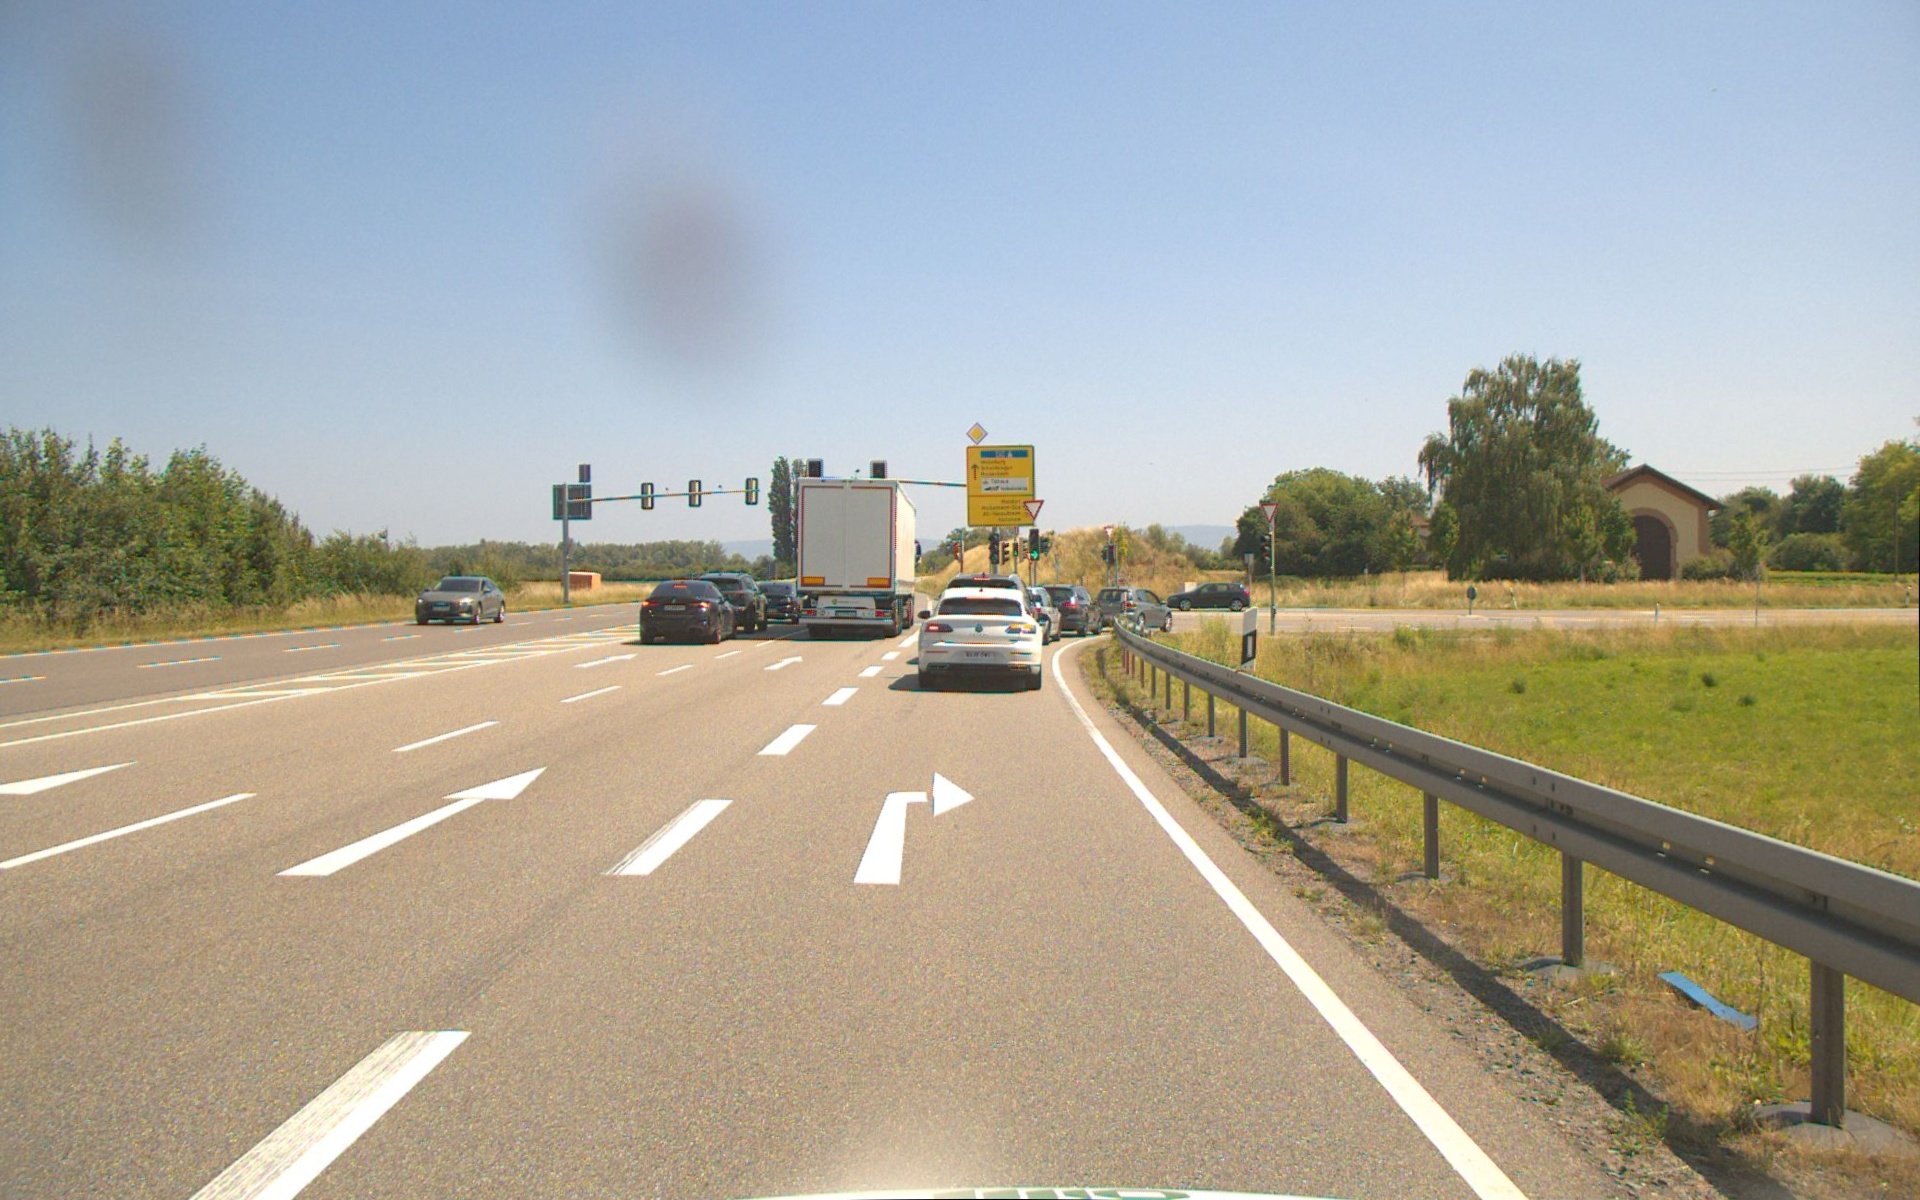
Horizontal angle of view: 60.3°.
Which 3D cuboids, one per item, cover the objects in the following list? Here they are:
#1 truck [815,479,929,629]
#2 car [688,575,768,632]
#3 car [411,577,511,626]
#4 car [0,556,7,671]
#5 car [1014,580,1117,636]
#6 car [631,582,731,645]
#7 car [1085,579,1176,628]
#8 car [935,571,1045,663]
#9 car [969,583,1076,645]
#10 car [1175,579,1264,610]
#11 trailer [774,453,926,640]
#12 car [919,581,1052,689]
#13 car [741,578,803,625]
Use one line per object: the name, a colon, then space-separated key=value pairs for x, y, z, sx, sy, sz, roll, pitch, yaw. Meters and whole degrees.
truck: x=-2.797 y=-1.464 z=54.831 sx=3.311 sy=4.622 sz=6.373 roll=1 pitch=0 yaw=1
car: x=-6.528 y=0.095 z=46.876 sx=1.772 sy=1.519 sz=4.020 roll=1 pitch=0 yaw=-1
car: x=-15.427 y=0.040 z=51.338 sx=1.840 sy=1.422 sz=4.529 roll=1 pitch=0 yaw=-2
car: x=-14.874 y=0.243 z=21.906 sx=1.987 sy=1.668 sz=4.568 roll=1 pitch=2 yaw=-2
car: x=3.098 y=0.220 z=47.654 sx=1.762 sy=1.502 sz=4.415 roll=1 pitch=0 yaw=21
car: x=-6.636 y=0.296 z=39.685 sx=1.772 sy=1.423 sz=4.020 roll=1 pitch=0 yaw=-1
car: x=5.713 y=0.114 z=55.010 sx=1.764 sy=1.548 sz=3.878 roll=1 pitch=0 yaw=26
car: x=0.665 y=0.305 z=32.350 sx=1.894 sy=1.644 sz=4.380 roll=1 pitch=0 yaw=4
car: x=1.626 y=0.329 z=41.428 sx=1.761 sy=1.454 sz=4.095 roll=1 pitch=0 yaw=16
car: x=12.876 y=-0.284 z=82.218 sx=4.171 sy=1.392 sz=1.777 roll=-1 pitch=2 yaw=3
trailer: x=-2.886 y=-1.395 z=47.693 sx=3.311 sy=4.622 sz=12.873 roll=1 pitch=1 yaw=1
car: x=0.370 y=0.473 z=25.112 sx=1.810 sy=1.458 sz=4.608 roll=1 pitch=0 yaw=0
car: x=-6.468 y=0.037 z=57.276 sx=1.772 sy=1.519 sz=4.020 roll=1 pitch=0 yaw=-1
